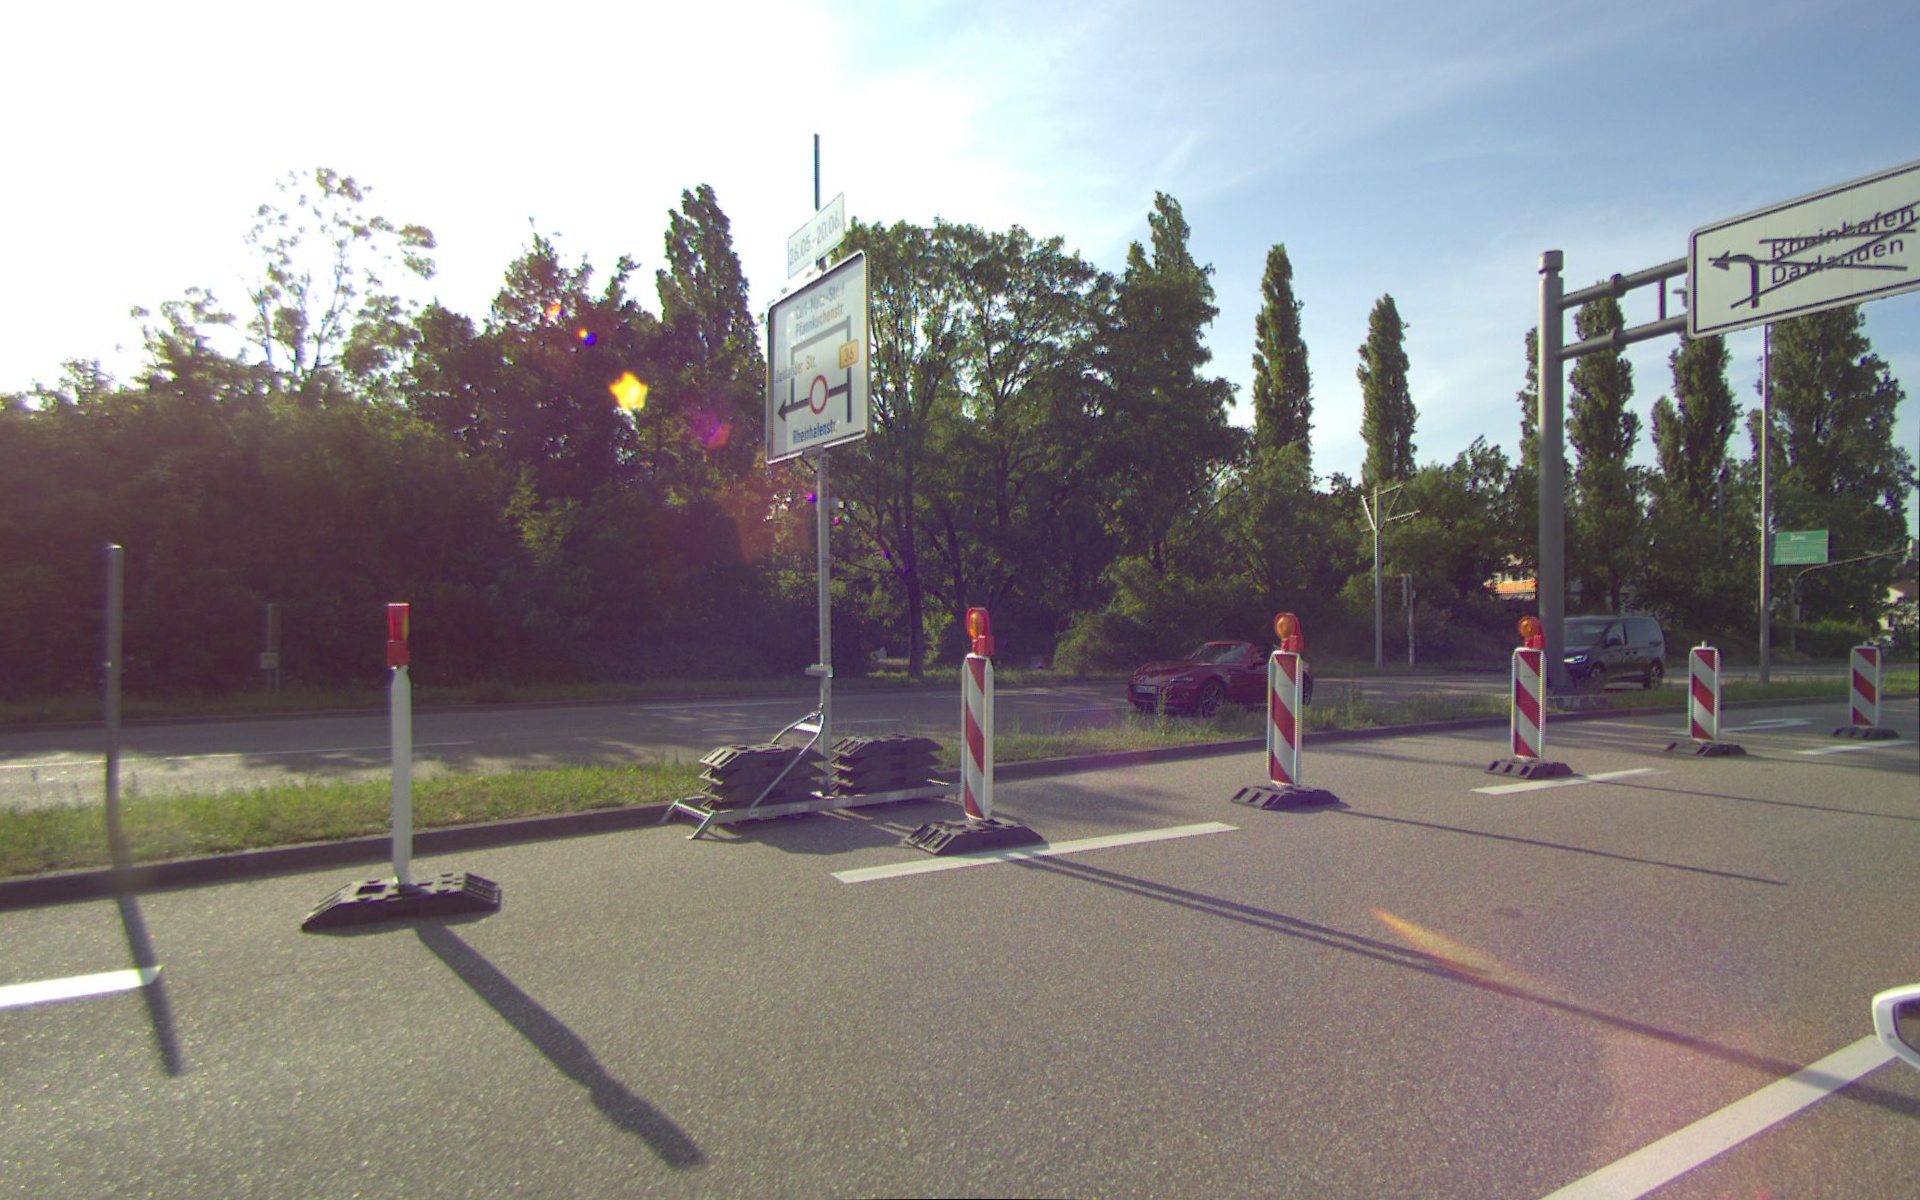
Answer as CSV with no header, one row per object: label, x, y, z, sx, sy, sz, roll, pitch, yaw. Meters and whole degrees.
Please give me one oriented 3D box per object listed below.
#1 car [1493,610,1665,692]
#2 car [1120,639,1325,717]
car,14.909,1.189,24.160,4.074,1.831,1.777,1,-1,-29
car,4.706,1.323,17.843,3.633,1.173,1.502,1,-1,-33
